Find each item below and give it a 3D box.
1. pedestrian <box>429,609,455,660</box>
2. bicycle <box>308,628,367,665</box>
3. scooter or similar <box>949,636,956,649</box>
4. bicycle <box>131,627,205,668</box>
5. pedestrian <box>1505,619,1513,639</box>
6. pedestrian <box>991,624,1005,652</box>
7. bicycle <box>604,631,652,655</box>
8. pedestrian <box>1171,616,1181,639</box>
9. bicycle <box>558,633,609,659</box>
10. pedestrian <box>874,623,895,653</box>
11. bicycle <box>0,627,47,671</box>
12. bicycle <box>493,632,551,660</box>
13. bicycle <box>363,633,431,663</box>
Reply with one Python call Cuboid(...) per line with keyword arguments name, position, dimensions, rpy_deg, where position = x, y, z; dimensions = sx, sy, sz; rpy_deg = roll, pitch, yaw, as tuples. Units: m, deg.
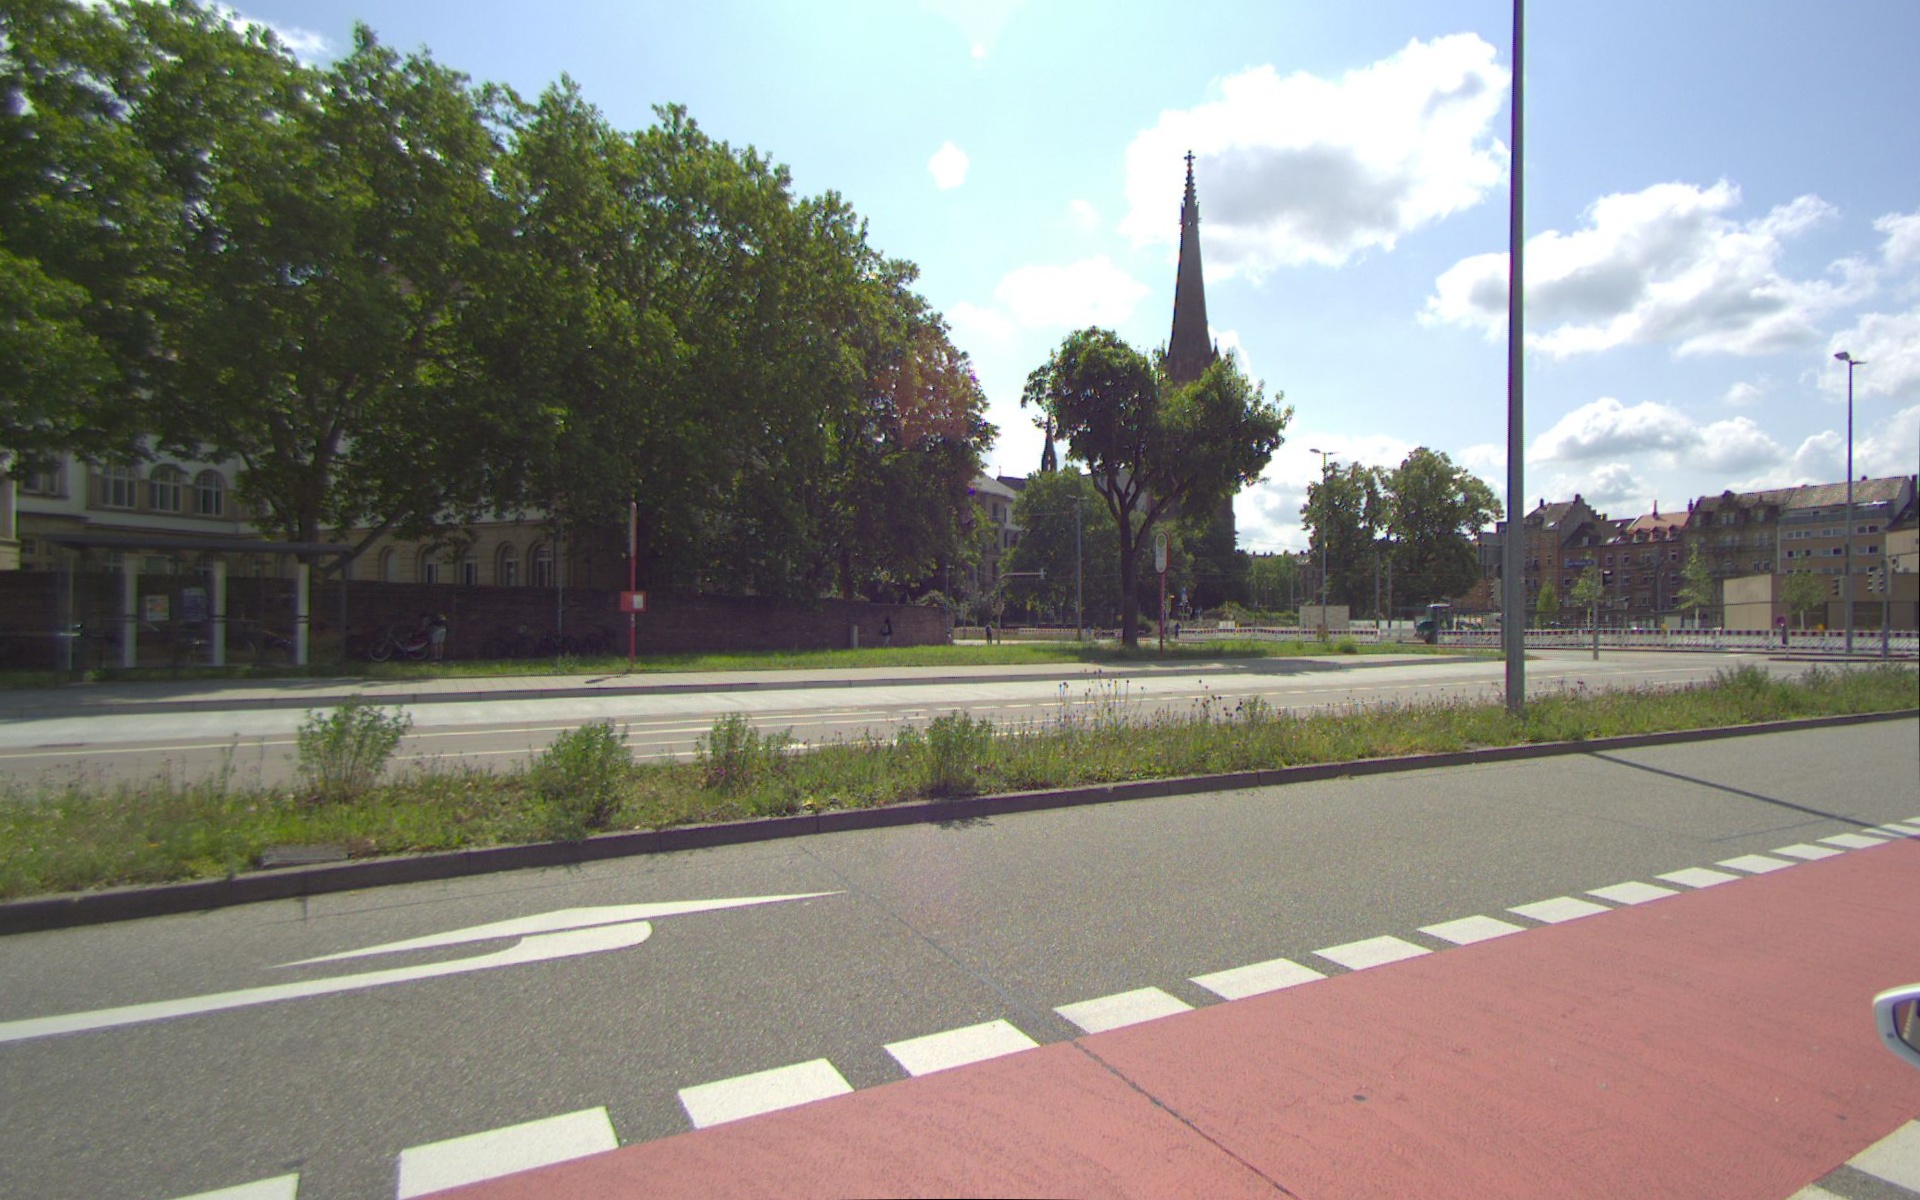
Cuboid(name="pedestrian", position=(-15.156, 1.006, 29.379), dimensions=(0.627, 1.492, 0.506), rpy_deg=(1, -1, -32))
Cuboid(name="bicycle", position=(-17.157, 1.266, 27.710), dimensions=(0.260, 0.977, 1.391), rpy_deg=(0, -1, 36))
Cuboid(name="scooter or similar", position=(-0.437, 2.478, 58.978), dimensions=(0.117, 0.721, 1.005), rpy_deg=(0, -1, 17))
Cuboid(name="bicycle", position=(-19.414, 1.158, 24.639), dimensions=(0.260, 0.977, 1.391), rpy_deg=(0, -1, 36))
Cuboid(name="pedestrian", position=(46.700, 2.501, 85.459), dimensions=(0.409, 1.674, 0.425), rpy_deg=(2, 0, 4))
Cuboid(name="pedestrian", position=(2.826, 2.838, 74.751), dimensions=(0.713, 2.040, 0.721), rpy_deg=(1, -1, -32))
Cuboid(name="bicycle", position=(-11.773, 1.528, 35.675), dimensions=(0.324, 0.828, 1.743), rpy_deg=(0, -1, 36))
Cuboid(name="pedestrian", position=(18.908, 2.386, 87.816), dimensions=(0.642, 2.040, 0.626), rpy_deg=(1, -1, -35))
Cuboid(name="bicycle", position=(-12.778, 1.552, 34.149), dimensions=(0.324, 0.828, 1.743), rpy_deg=(0, -1, 36))
Cuboid(name="pedestrian", position=(-3.578, 1.797, 47.707), dimensions=(0.720, 1.413, 0.714), rpy_deg=(1, -1, -35))
Cuboid(name="bicycle", position=(-21.254, 1.091, 22.318), dimensions=(0.260, 0.977, 1.391), rpy_deg=(0, -1, 36))
Cuboid(name="bicycle", position=(-14.017, 1.463, 32.193), dimensions=(0.378, 0.828, 1.743), rpy_deg=(0, -1, 36))
Cuboid(name="bicycle", position=(-16.237, 1.381, 29.007), dimensions=(0.324, 0.828, 1.743), rpy_deg=(0, -1, 36))
